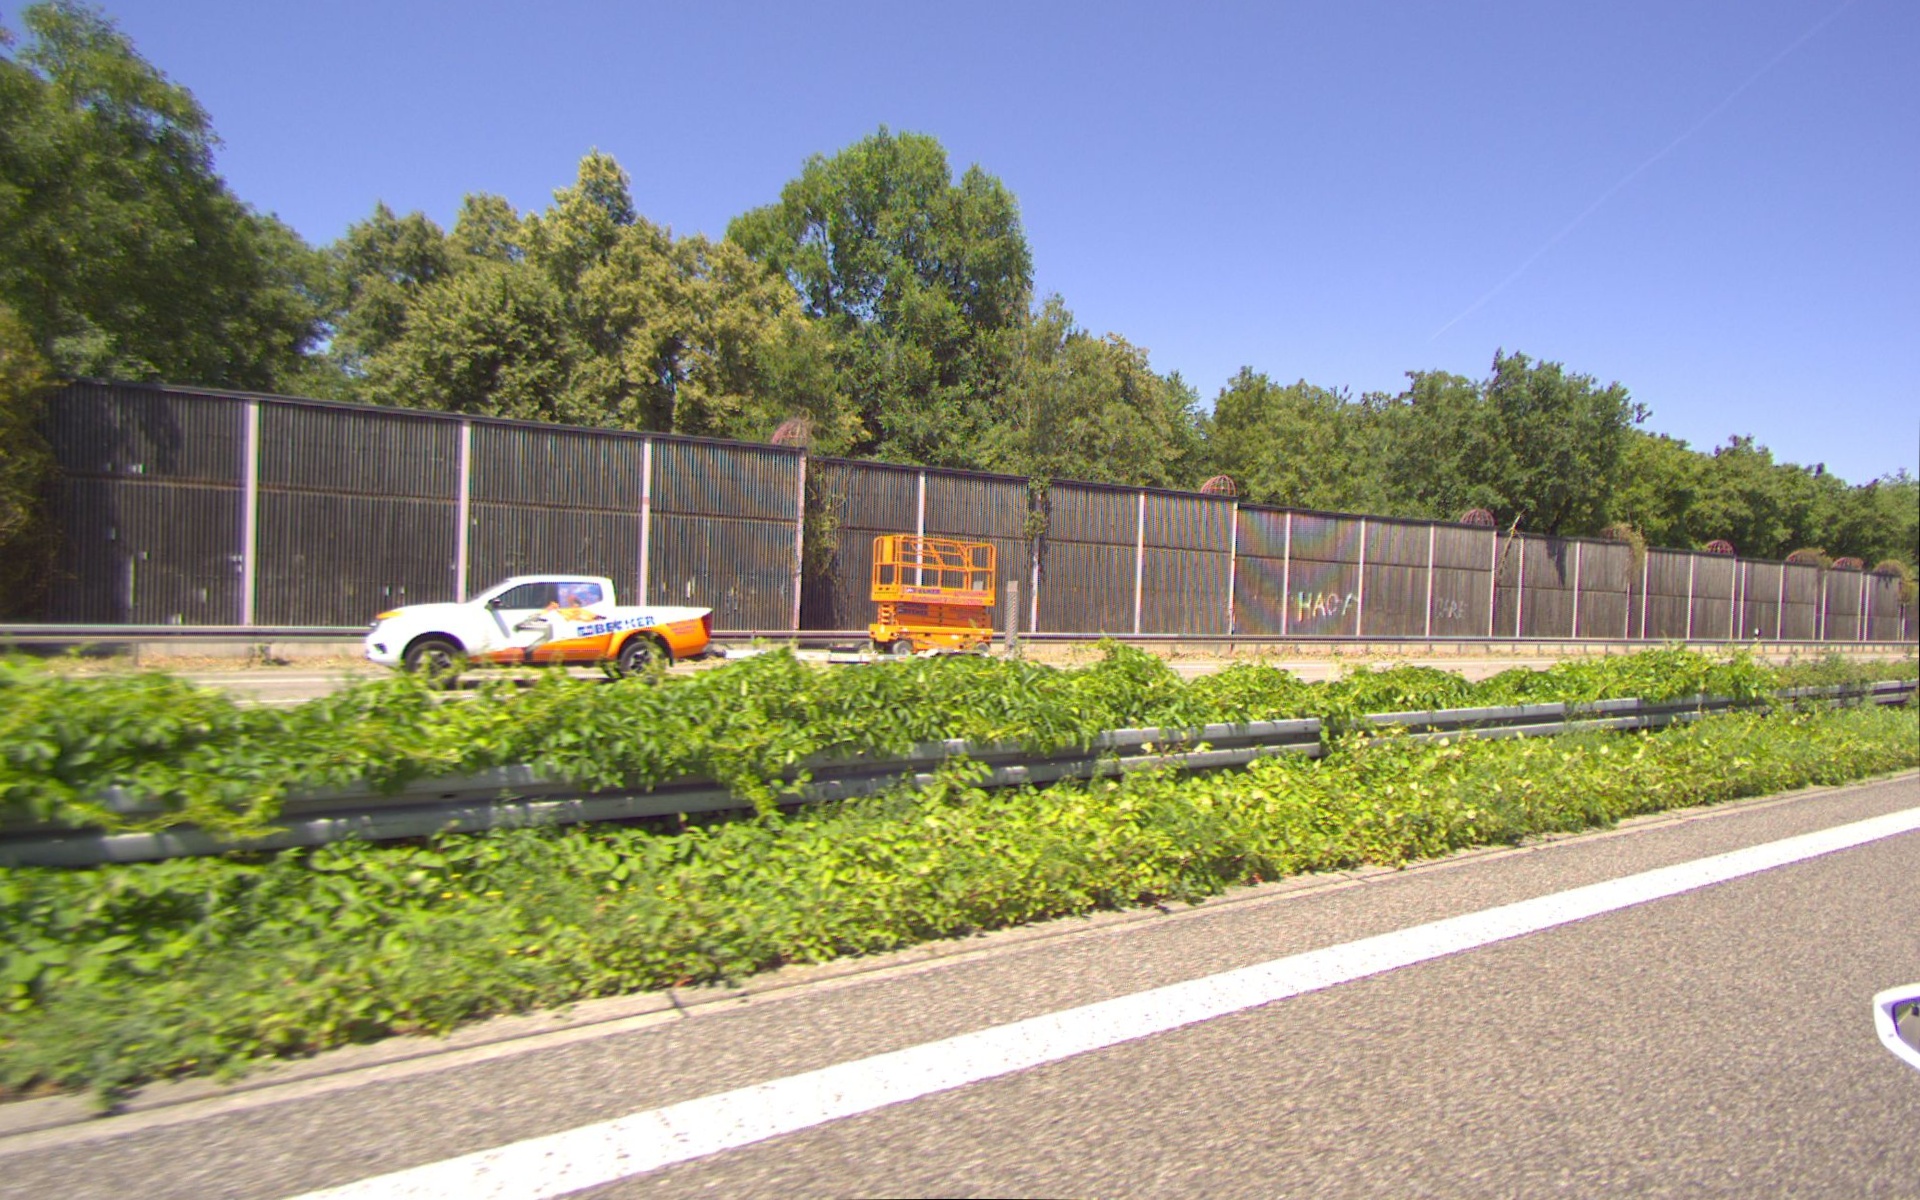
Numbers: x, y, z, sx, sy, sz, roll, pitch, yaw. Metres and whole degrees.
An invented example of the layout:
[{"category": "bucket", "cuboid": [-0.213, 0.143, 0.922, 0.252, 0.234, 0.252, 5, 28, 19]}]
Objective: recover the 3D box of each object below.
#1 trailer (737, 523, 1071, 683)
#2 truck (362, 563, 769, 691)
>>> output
[{"category": "trailer", "cuboid": [-1.014, 0.119, 20.338, 6.436, 2.813, 2.231, 2, 0, -32]}, {"category": "truck", "cuboid": [-6.533, 0.458, 17.022, 6.140, 1.840, 2.090, 2, 0, -31]}]
